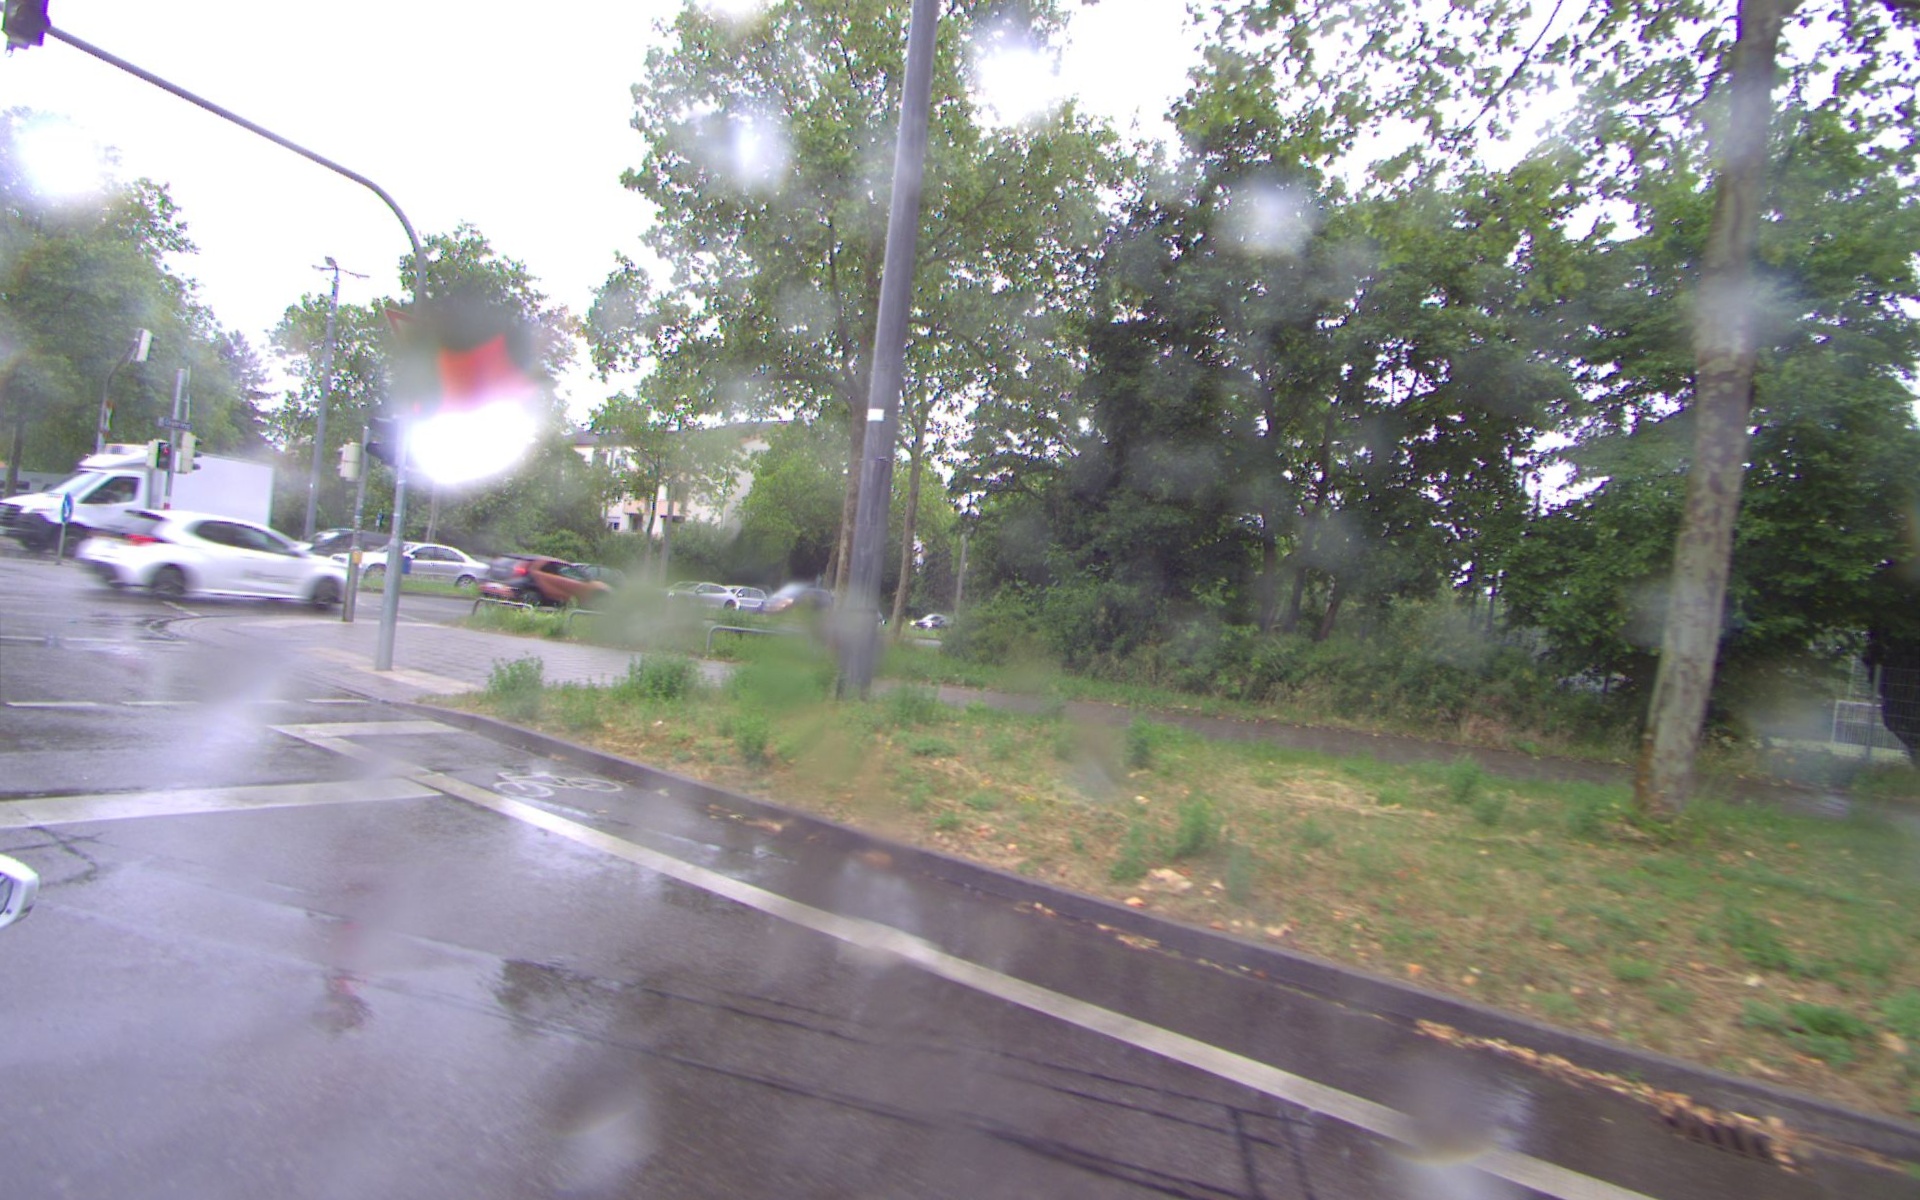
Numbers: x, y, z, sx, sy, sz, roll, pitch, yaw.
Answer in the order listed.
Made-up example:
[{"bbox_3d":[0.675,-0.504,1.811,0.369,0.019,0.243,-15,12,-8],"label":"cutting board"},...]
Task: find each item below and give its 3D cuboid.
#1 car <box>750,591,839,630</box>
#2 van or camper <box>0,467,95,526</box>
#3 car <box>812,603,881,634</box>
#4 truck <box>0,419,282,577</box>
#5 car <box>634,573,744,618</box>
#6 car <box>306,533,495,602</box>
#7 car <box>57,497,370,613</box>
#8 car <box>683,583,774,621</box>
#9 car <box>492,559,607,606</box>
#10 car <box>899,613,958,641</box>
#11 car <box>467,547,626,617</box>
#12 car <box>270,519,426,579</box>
[{"bbox_3d":[-8.145,0.562,50.010,1.735,1.439,4.670,6,-1,29],"label":"car"},{"bbox_3d":[-56.475,-6.392,61.480,5.204,2.728,2.217,10,-2,-41],"label":"van or camper"},{"bbox_3d":[-6.831,1.174,61.147,1.735,1.439,4.671,6,-1,28],"label":"car"},{"bbox_3d":[-21.013,-2.462,25.855,1.946,3.095,5.481,6,-1,27],"label":"truck"},{"bbox_3d":[-11.658,-0.162,43.660,1.735,1.439,4.670,6,-1,29],"label":"car"},{"bbox_3d":[-16.043,-0.896,29.124,1.616,1.406,4.521,6,-1,29],"label":"car"},{"bbox_3d":[-12.940,-0.710,17.740,1.623,1.517,4.075,6,0,26],"label":"car"},{"bbox_3d":[-11.657,0.144,50.898,1.735,1.439,4.671,6,-1,28],"label":"car"},{"bbox_3d":[-16.918,-0.679,41.662,1.735,1.439,4.130,6,-1,29],"label":"car"},{"bbox_3d":[-2.080,1.850,68.112,1.735,1.439,4.671,6,-1,28],"label":"car"},{"bbox_3d":[-11.380,-0.460,27.914,1.623,1.517,3.825,6,0,28],"label":"car"},{"bbox_3d":[-21.025,-1.722,34.732,1.735,1.439,4.208,6,-1,29],"label":"car"}]
